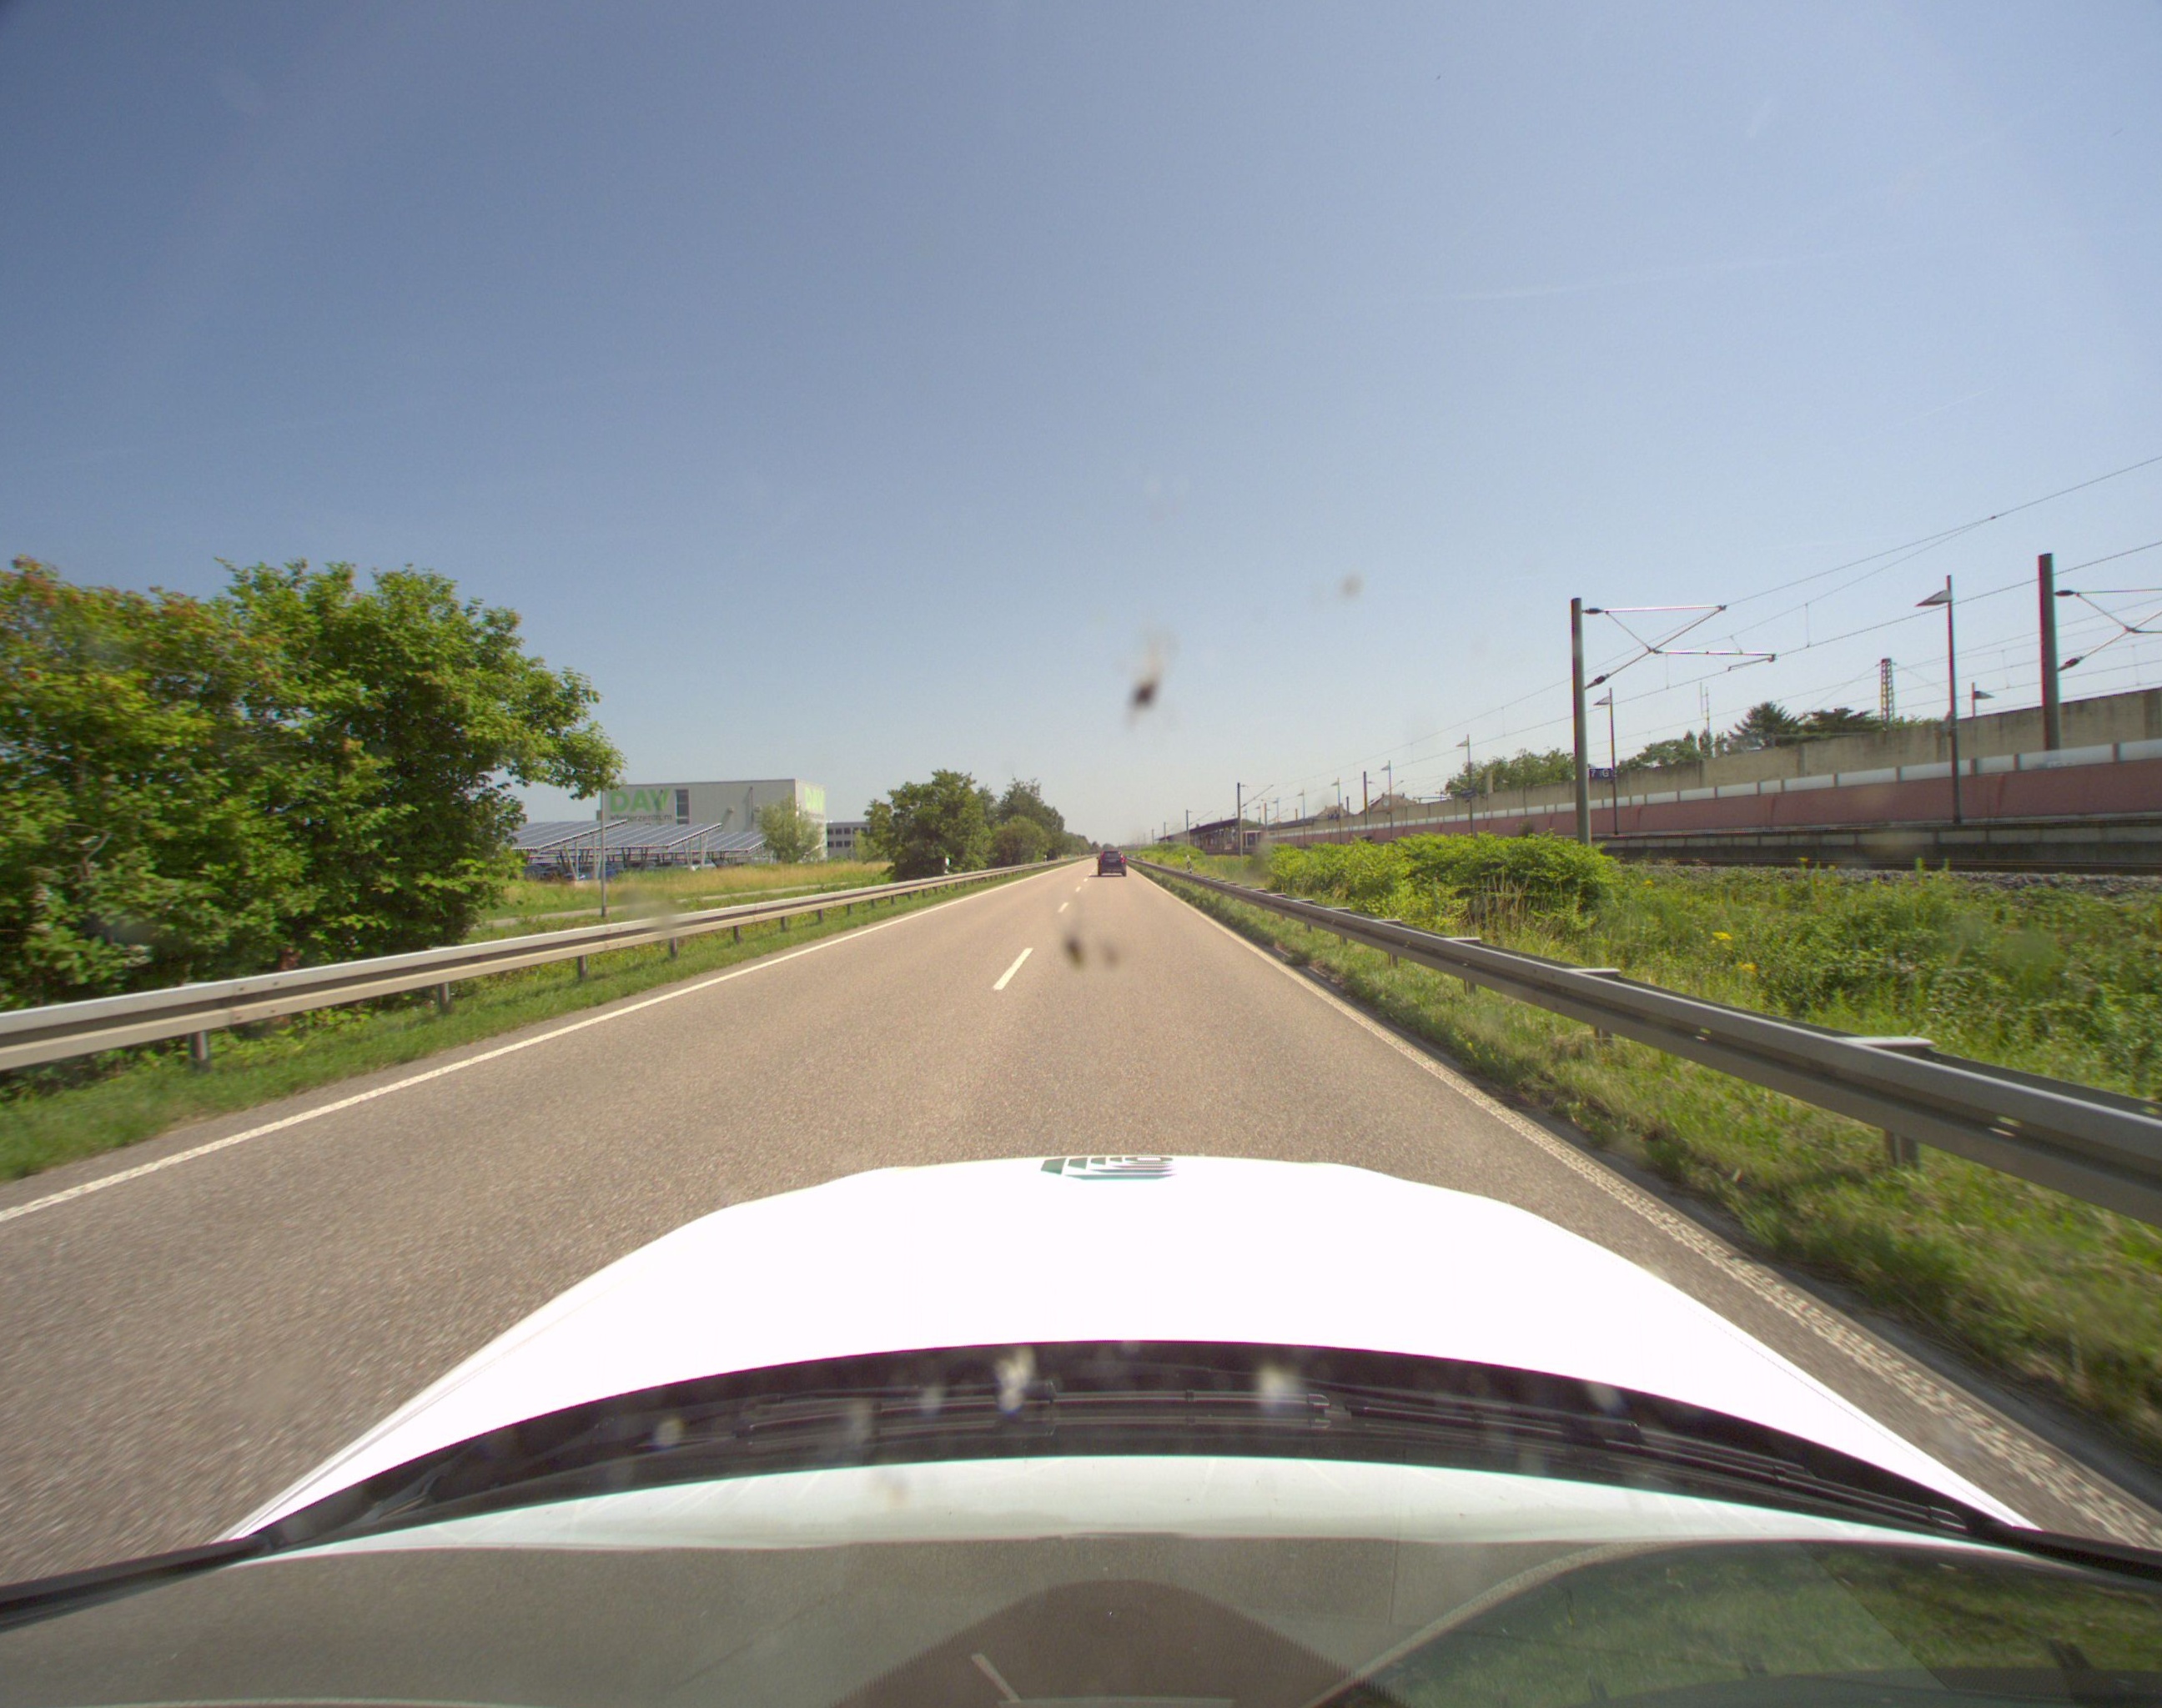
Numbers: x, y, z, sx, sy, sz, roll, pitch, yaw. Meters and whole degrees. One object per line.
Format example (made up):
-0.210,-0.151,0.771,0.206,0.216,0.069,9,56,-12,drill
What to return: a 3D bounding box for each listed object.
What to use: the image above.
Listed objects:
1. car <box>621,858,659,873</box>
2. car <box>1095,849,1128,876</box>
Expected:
-39.569,1.015,73.128,1.614,1.291,3.363,-2,0,-1,car
1.950,0.535,53.943,1.987,1.700,3.999,-1,0,-1,car
